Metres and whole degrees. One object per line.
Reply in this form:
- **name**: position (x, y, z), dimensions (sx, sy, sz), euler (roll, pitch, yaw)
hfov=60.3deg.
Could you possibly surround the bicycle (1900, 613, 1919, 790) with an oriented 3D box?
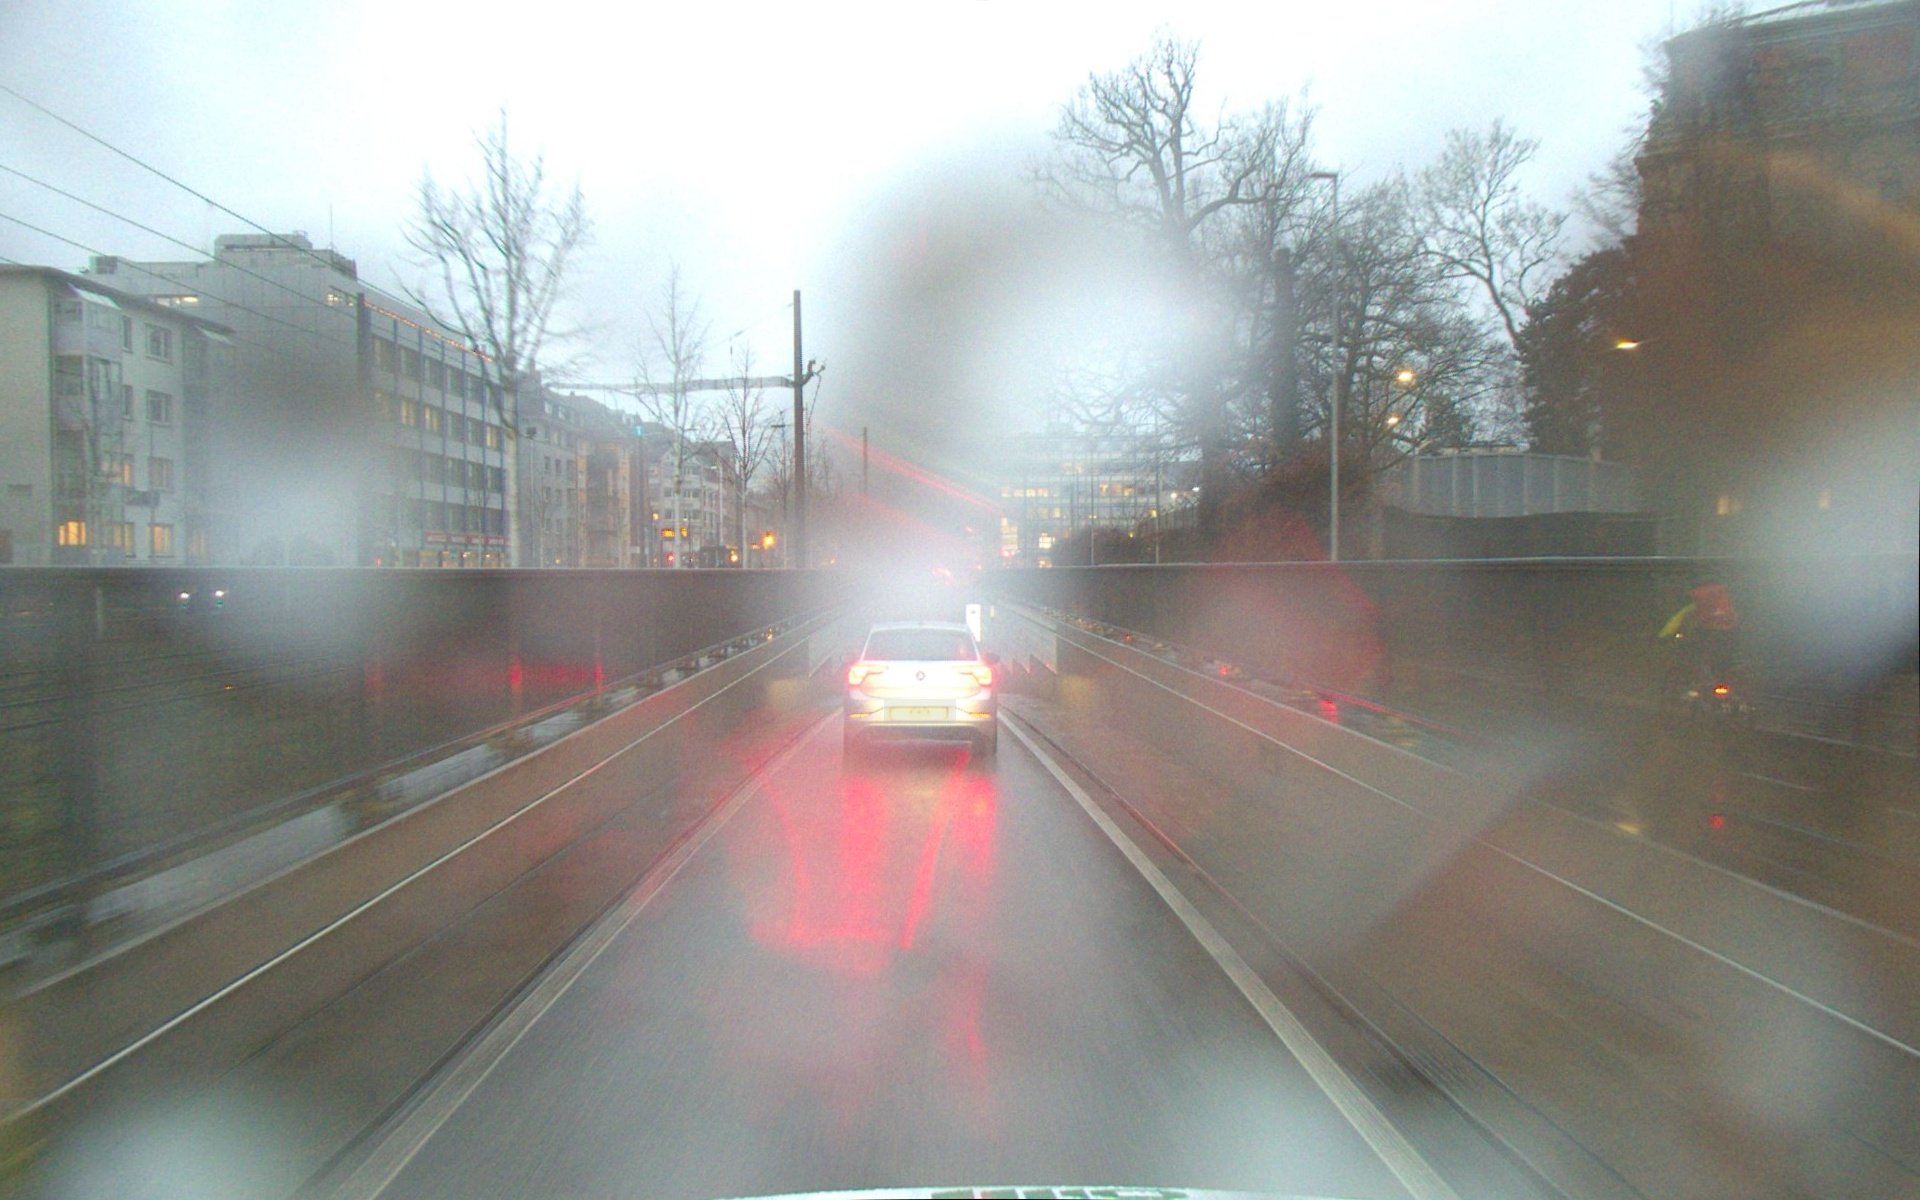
- **bicycle**: position (6.810, 0.714, 10.549), dimensions (0.403, 1.205, 2.028), euler (-1, 1, -2)

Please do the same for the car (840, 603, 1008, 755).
- **car**: position (-0.341, 0.819, 18.988), dimensions (1.687, 1.505, 4.000), euler (1, 0, 1)

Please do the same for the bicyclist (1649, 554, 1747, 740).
- **bicyclist**: position (6.642, 0.401, 14.911), dimensions (0.490, 1.619, 0.837), euler (-1, 1, -3)

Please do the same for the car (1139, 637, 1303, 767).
- **car**: position (3.555, 1.348, 23.146), dimensions (1.687, 1.505, 4.000), euler (1, 0, 1)

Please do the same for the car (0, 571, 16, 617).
- **car**: position (-31.791, -0.151, 52.259), dimensions (1.770, 1.461, 3.925), euler (-1, 1, -3)

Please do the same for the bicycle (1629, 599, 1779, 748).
- **bicycle**: position (6.646, 0.615, 14.867), dimensions (0.403, 1.205, 1.947), euler (-1, 1, -2)
